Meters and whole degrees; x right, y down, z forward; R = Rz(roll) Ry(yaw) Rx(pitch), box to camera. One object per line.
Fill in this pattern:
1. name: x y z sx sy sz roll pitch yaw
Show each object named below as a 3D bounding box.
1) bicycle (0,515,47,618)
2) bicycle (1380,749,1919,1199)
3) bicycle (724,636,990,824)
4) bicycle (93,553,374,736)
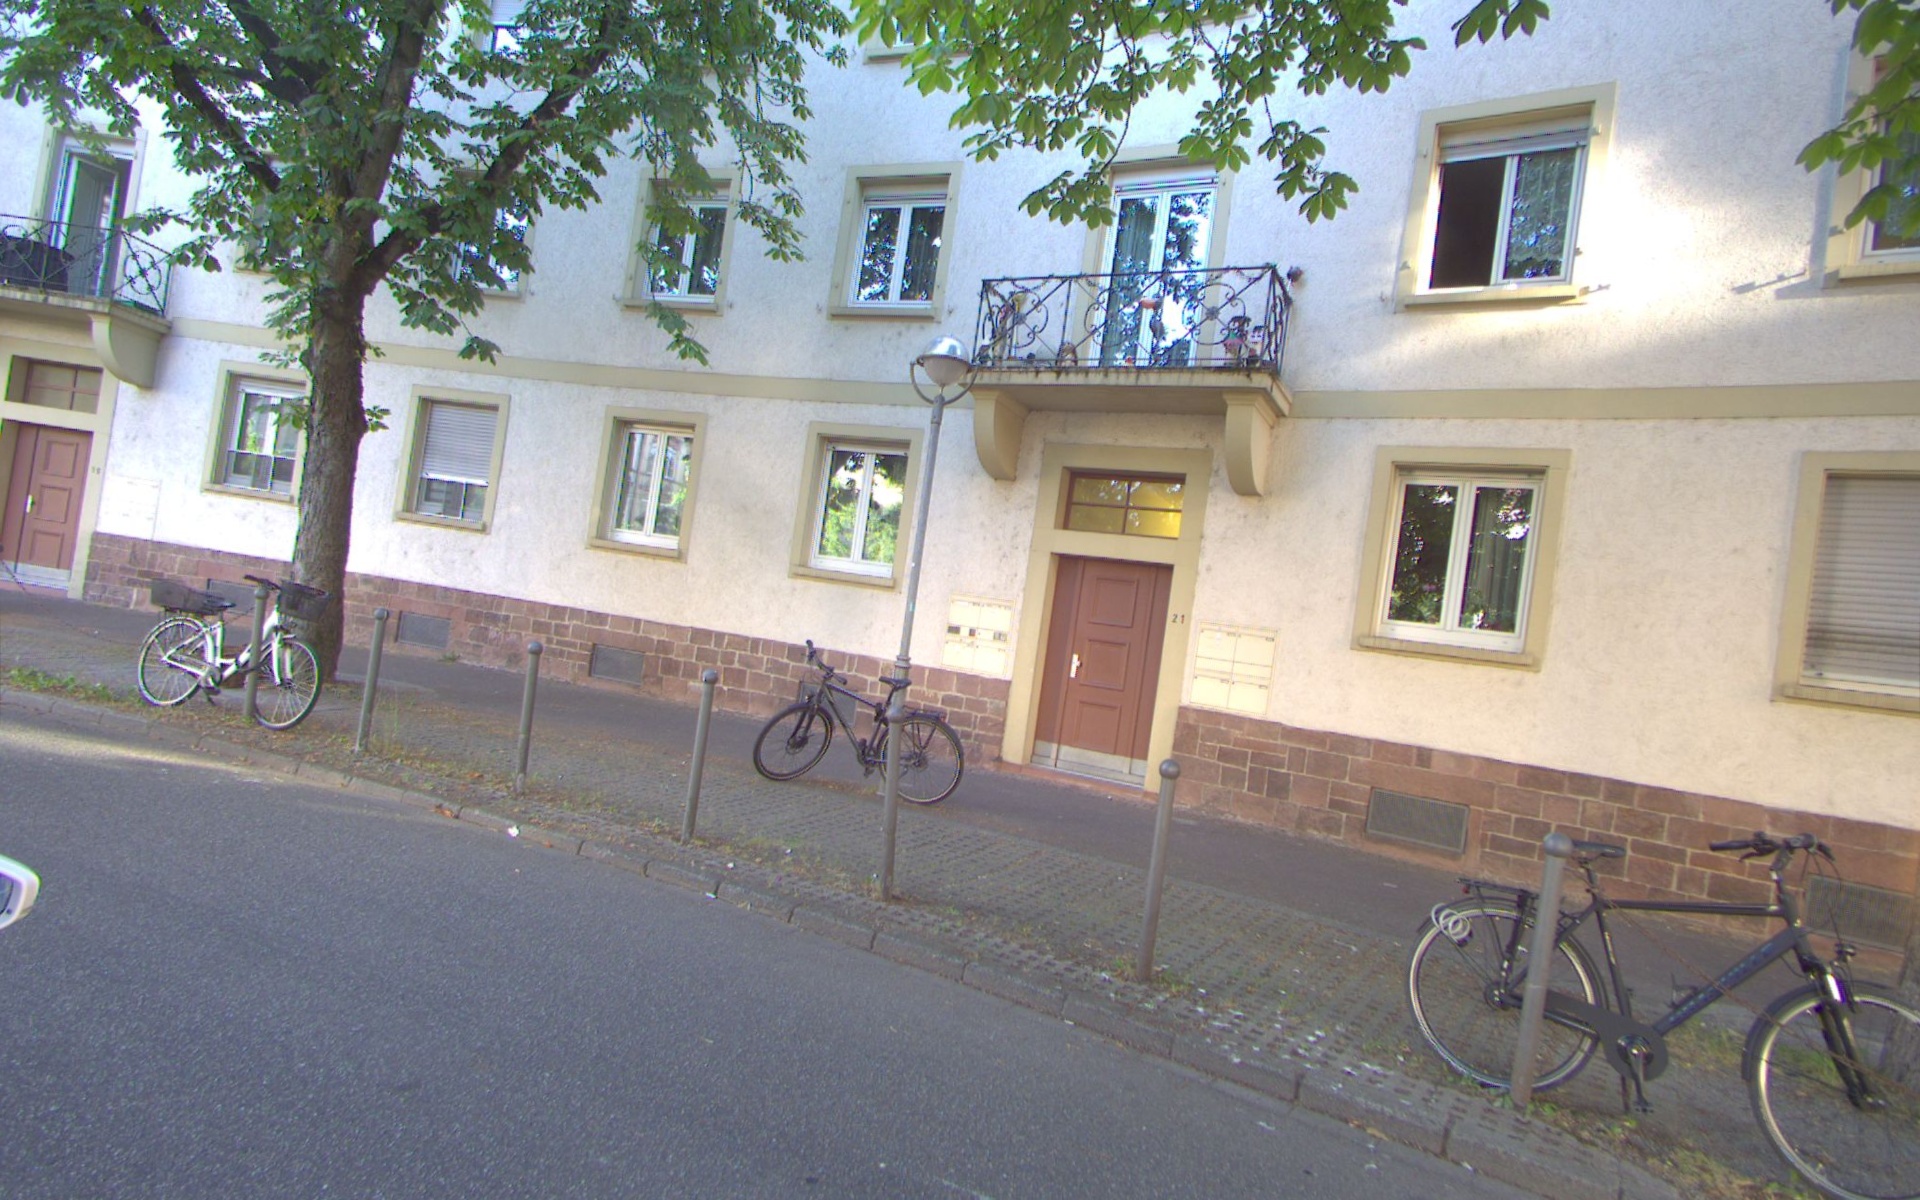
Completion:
1. bicycle: -11.691 -0.502 11.564 1.929 1.120 0.670 8 -2 13
2. bicycle: 2.642 1.332 3.630 1.881 1.237 0.719 7 -1 29
3. bicycle: -0.780 0.993 7.990 1.823 1.131 0.804 8 -1 8
4. bicycle: -5.640 0.326 7.817 1.936 1.109 0.514 8 0 12
